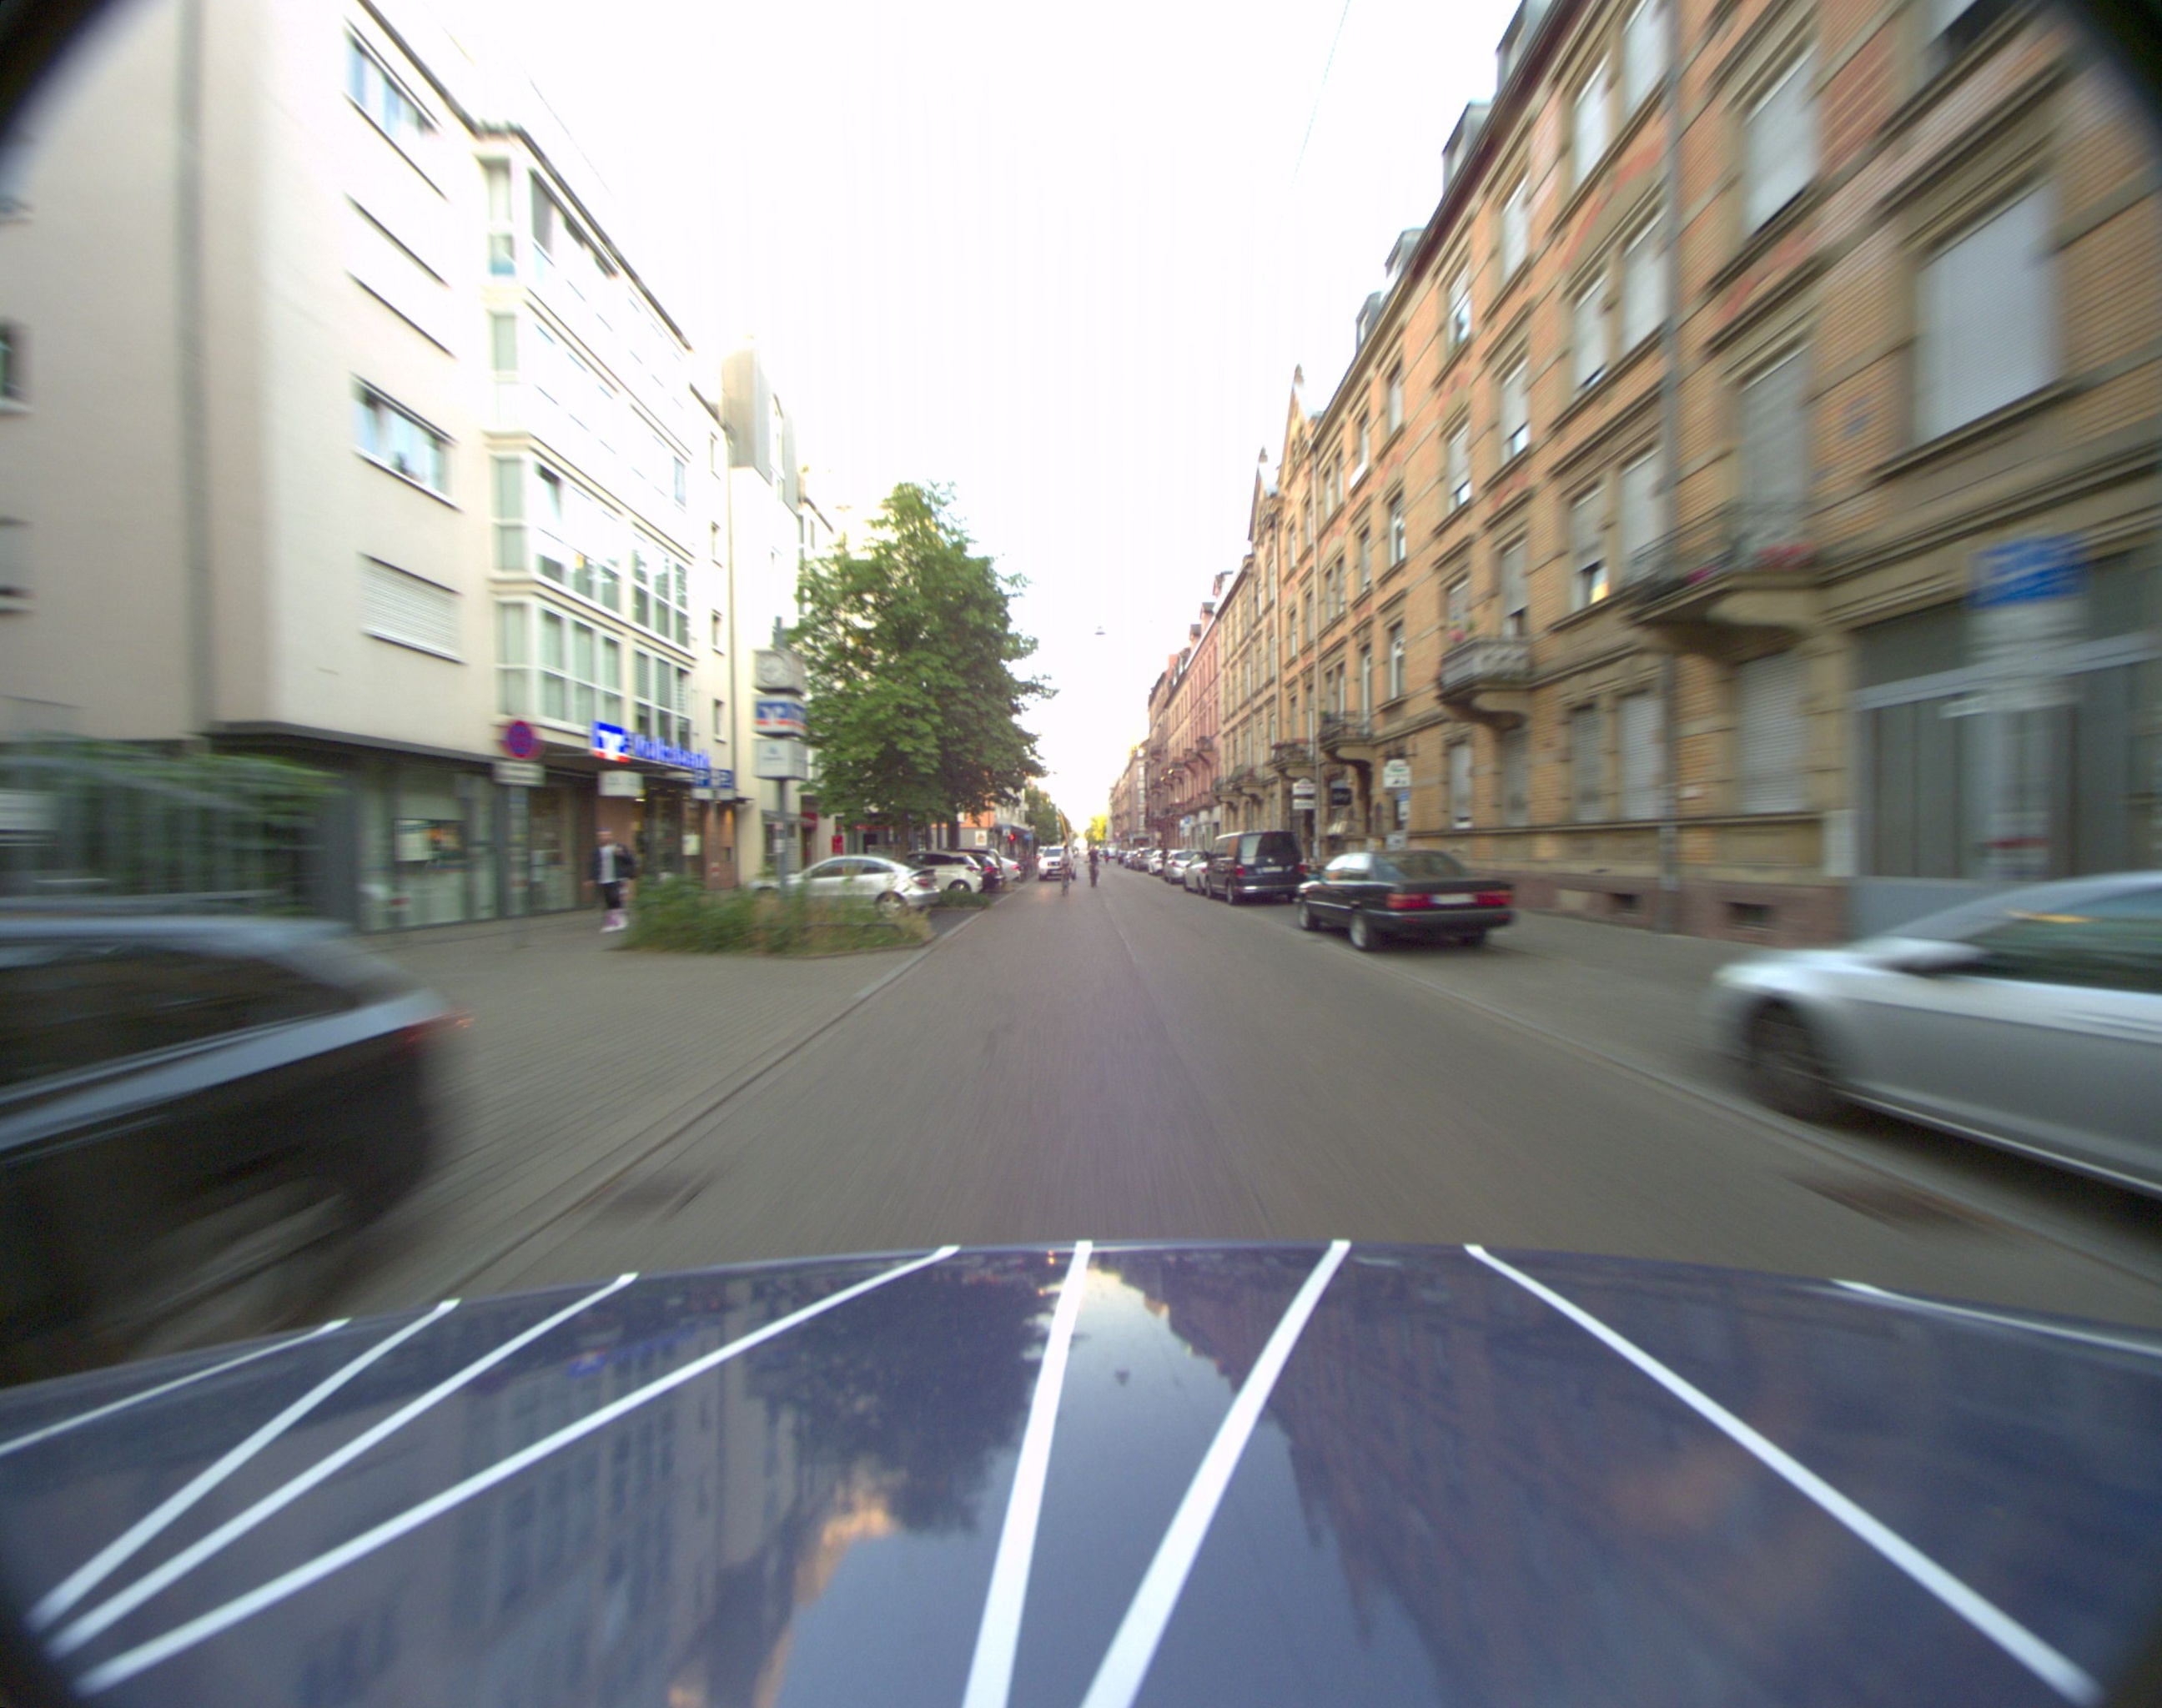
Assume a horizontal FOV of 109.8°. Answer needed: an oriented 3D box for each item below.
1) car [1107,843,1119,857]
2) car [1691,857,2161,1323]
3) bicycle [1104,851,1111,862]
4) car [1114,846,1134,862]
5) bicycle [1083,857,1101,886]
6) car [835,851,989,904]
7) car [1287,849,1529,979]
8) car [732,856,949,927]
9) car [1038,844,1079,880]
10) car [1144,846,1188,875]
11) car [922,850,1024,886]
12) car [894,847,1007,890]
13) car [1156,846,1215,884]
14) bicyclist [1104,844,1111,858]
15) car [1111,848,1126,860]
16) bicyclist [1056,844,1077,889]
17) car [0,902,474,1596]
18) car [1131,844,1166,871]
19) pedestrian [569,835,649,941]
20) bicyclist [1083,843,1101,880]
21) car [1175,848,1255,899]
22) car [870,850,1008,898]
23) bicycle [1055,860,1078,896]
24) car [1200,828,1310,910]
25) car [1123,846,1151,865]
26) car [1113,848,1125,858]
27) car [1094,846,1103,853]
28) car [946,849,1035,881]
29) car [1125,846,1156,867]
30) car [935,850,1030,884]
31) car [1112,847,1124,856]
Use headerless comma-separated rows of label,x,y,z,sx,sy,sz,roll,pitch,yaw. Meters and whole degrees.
car,5.727,-0.773,136.942,1.757,2.264,4.057,-6,1,1
car,4.662,0.856,2.648,1.757,1.466,4.057,-6,0,1
bicycle,2.864,0.256,81.528,0.686,1.145,2.115,-1,1,0
car,4.485,0.001,79.571,1.757,1.426,4.057,-6,0,0
bicycle,0.454,0.695,31.484,0.686,1.145,2.115,-1,1,0
car,-5.097,0.703,23.378,4.301,1.520,1.823,-1,1,-1
car,4.704,0.747,11.721,1.757,1.466,4.279,-6,0,0
car,-5.295,0.804,17.178,4.301,1.443,1.823,-1,1,-1
car,-1.145,0.394,40.147,1.957,1.729,4.284,-3,0,0
car,4.760,0.344,43.080,1.758,1.426,4.056,-6,0,-3
car,-4.755,0.616,33.930,4.301,1.528,1.823,-1,1,-1
car,-5.282,0.556,31.110,4.301,1.666,1.823,-1,1,-1
car,4.594,0.459,34.031,1.758,1.466,4.056,-6,0,-3
bicyclist,2.864,-0.345,81.556,0.686,1.503,1.036,-1,1,0
car,4.858,-0.007,99.283,1.757,1.426,4.057,-6,0,1
bicyclist,-0.485,0.412,25.665,0.686,1.503,0.973,-1,1,0
car,-3.375,0.967,0.810,1.768,1.476,4.556,1,1,1
car,4.690,0.205,53.392,1.758,1.663,4.056,-6,1,-3
pedestrian,-8.158,0.566,13.171,0.851,1.756,0.834,1,1,4
bicyclist,0.450,0.305,31.517,0.686,1.503,0.973,-1,1,0
car,4.570,0.607,26.436,1.758,1.466,4.056,-6,0,-3
car,-4.727,0.652,25.773,4.301,1.520,1.823,-1,1,-1
bicycle,-0.479,0.796,25.721,0.686,1.145,2.115,-1,1,0
car,4.722,0.365,21.274,1.874,1.949,4.291,-4,0,-1
car,4.730,0.148,65.039,1.758,1.426,4.056,-6,0,-3
car,6.097,-0.237,122.555,1.757,1.426,4.057,-6,0,1
car,4.035,-1.094,174.953,1.757,1.426,4.057,-6,0,1
car,-4.554,0.534,38.712,4.301,1.520,1.823,-1,1,-1
car,4.595,0.180,59.403,1.758,1.426,4.056,-6,0,-3
car,-4.646,0.585,36.240,4.301,1.520,1.823,-1,1,-1
car,6.167,-0.418,127.351,1.757,1.426,4.057,-6,0,1
